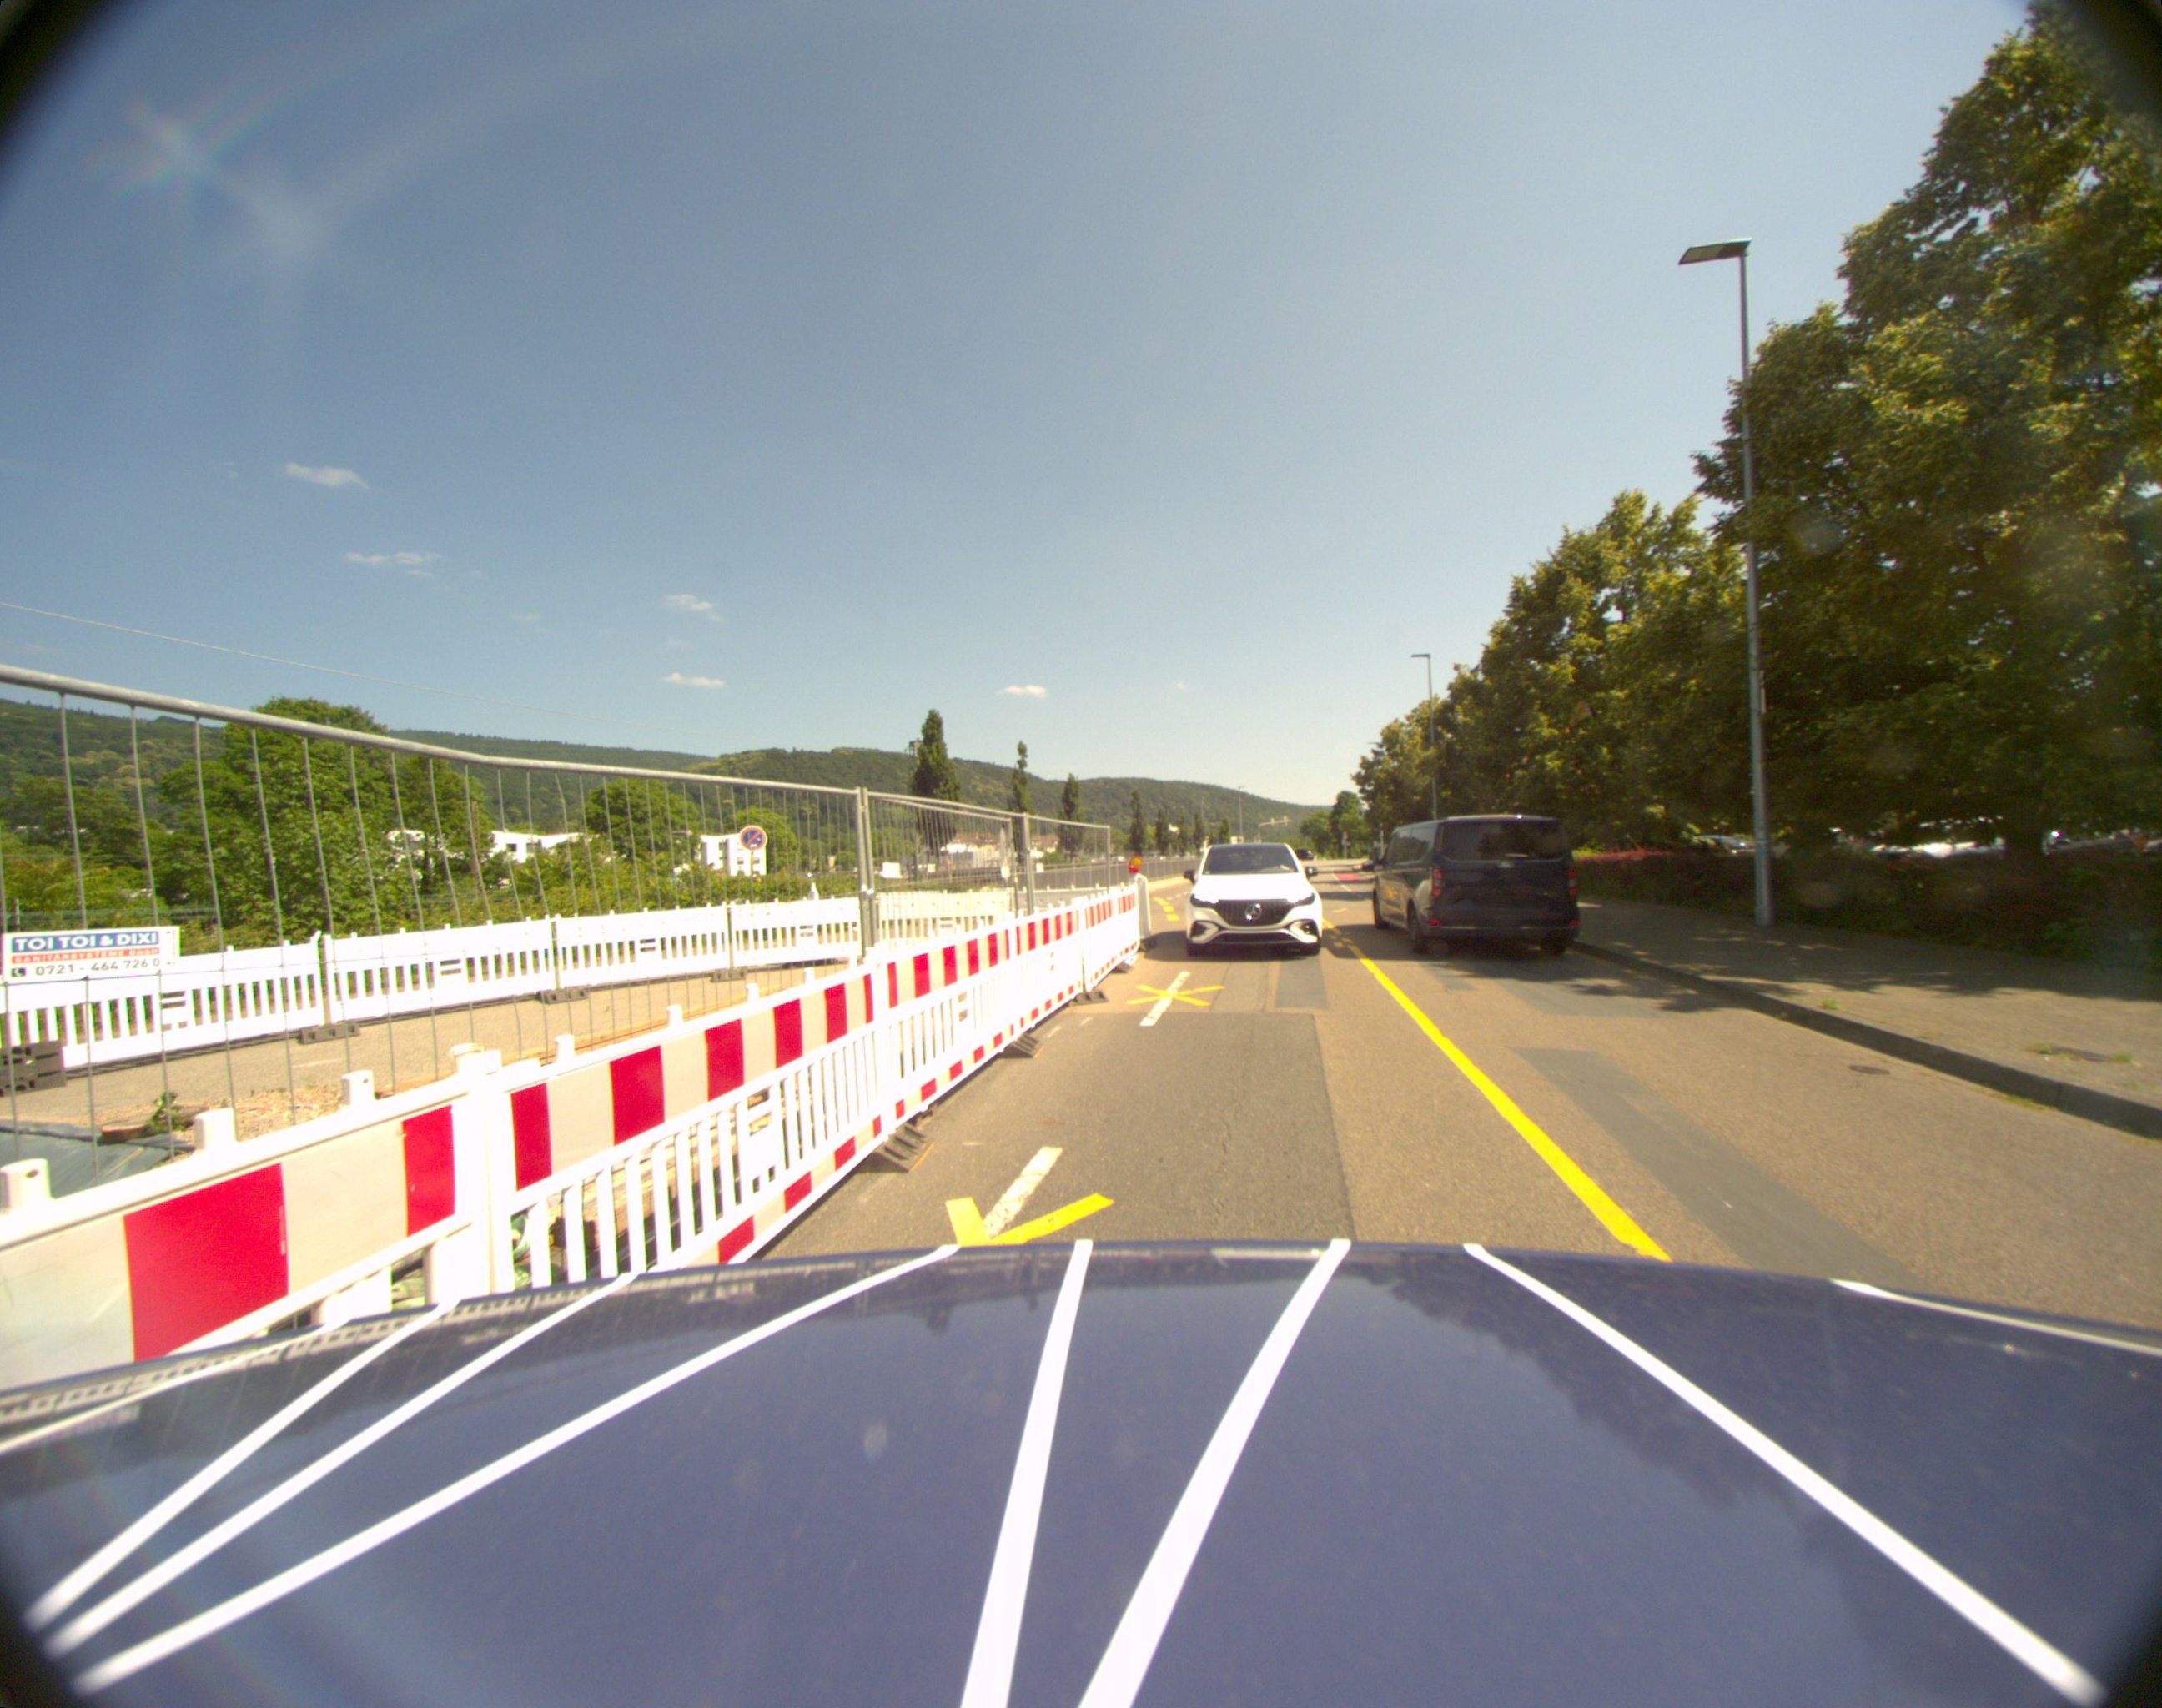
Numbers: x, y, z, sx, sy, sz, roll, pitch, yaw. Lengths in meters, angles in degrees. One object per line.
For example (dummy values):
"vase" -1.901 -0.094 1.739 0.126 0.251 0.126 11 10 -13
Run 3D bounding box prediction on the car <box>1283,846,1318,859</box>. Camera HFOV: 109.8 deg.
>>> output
"car" 31.351 -0.202 108.526 2.003 1.635 4.516 -2 1 -36

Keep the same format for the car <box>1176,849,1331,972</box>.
"car" 2.857 0.764 12.758 1.997 1.635 5.036 -2 0 12

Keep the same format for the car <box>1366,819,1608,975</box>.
"car" 6.166 0.528 12.395 2.179 1.956 5.450 -1 0 14

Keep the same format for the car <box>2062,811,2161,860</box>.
"car" 39.590 -0.683 27.734 1.861 1.676 4.367 -5 0 0

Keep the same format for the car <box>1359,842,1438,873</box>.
"car" 18.292 0.176 43.975 3.992 1.455 1.883 -5 0 19

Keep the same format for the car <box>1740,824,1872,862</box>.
"car" 32.617 -0.475 34.369 1.920 1.543 4.141 -3 0 -2

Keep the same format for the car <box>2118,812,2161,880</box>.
"car" 29.074 -0.282 18.844 4.365 1.676 1.862 -2 0 -3

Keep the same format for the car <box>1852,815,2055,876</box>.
"car" 27.209 -0.252 23.800 4.310 1.676 1.862 -2 0 -2
